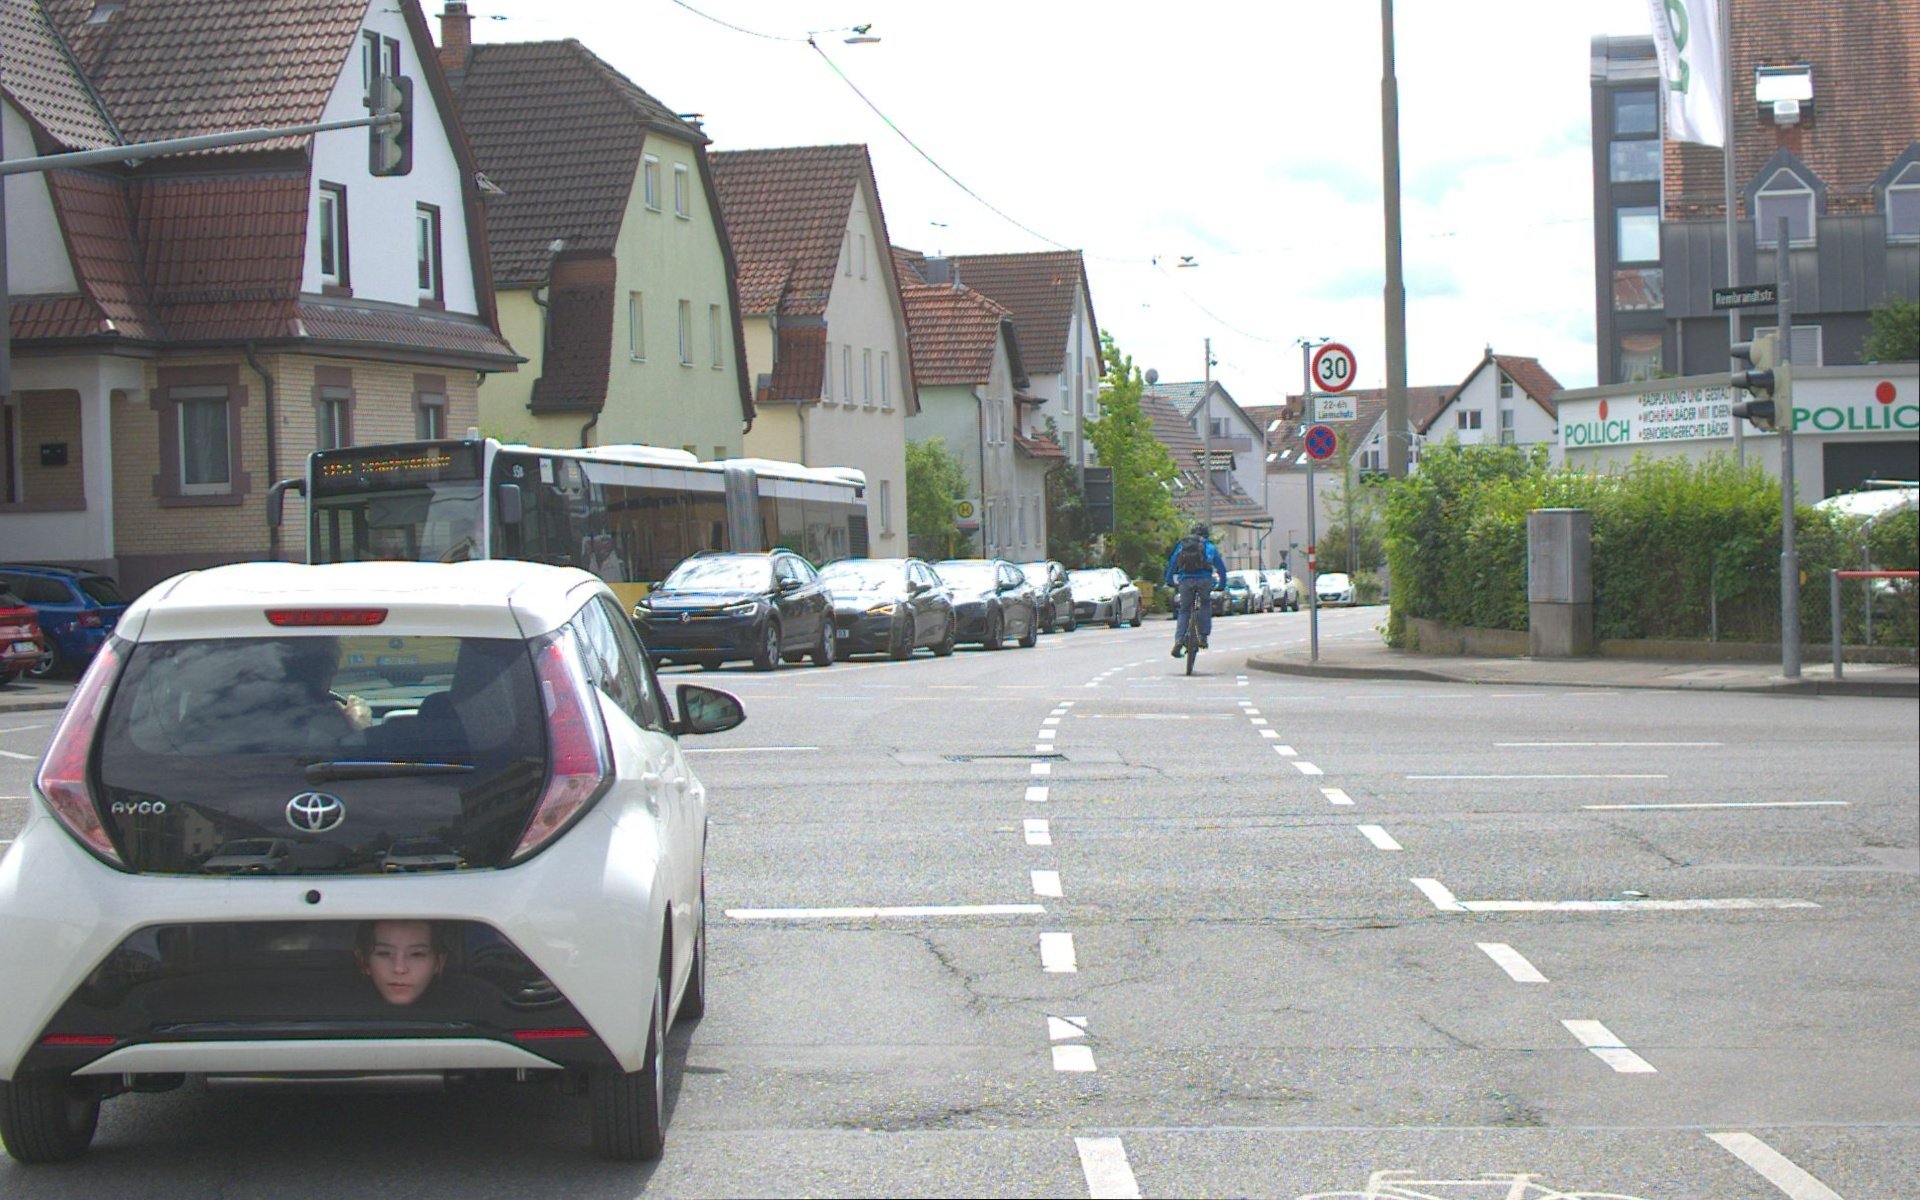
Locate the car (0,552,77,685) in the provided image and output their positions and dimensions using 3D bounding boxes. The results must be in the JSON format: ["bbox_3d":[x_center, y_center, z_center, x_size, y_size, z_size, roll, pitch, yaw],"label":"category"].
[{"bbox_3d":[-13.683,0.197,44.295,3.989,1.634,1.999,1,1,10],"label":"car"}]

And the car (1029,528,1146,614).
[{"bbox_3d":[3.109,-0.718,82.970,1.995,2.007,3.998,0,1,15],"label":"car"}]

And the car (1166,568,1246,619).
[{"bbox_3d":[8.236,-0.227,114.803,1.995,1.634,3.998,0,1,14],"label":"car"}]

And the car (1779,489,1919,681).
[{"bbox_3d":[11.227,-0.197,37.490,3.986,2.007,2.001,-1,1,-11],"label":"car"}]

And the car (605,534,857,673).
[{"bbox_3d":[-2.804,0.008,43.024,1.995,1.634,3.998,0,1,14],"label":"car"}]

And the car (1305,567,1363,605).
[{"bbox_3d":[16.455,-0.627,151.235,1.995,1.634,3.998,0,1,14],"label":"car"}]

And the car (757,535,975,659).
[{"bbox_3d":[-1.261,-0.079,48.158,1.995,1.634,4.181,0,1,14],"label":"car"}]

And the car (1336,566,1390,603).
[{"bbox_3d":[18.921,-0.737,161.390,1.995,1.634,3.998,0,1,14],"label":"car"}]

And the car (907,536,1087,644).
[{"bbox_3d":[0.634,-0.190,54.907,1.995,1.634,3.998,0,1,14],"label":"car"}]

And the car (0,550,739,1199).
[{"bbox_3d":[-1.561,0.607,9.641,1.738,1.455,3.533,-1,1,-2],"label":"car"}]

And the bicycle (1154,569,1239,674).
[{"bbox_3d":[2.765,0.234,40.319,0.832,1.160,2.192,-1,1,0],"label":"bicycle"}]

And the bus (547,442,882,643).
[{"bbox_3d":[-3.674,-0.931,54.397,2.779,2.904,9.186,0,1,12],"label":"bus"}]

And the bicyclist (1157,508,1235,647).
[{"bbox_3d":[2.763,-0.272,40.288,0.840,1.609,1.083,-1,1,1],"label":"bicyclist"}]

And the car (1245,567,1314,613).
[{"bbox_3d":[12.023,-0.379,129.068,1.995,1.634,3.998,0,1,14],"label":"car"}]

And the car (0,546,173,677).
[{"bbox_3d":[-13.097,0.116,47.174,3.989,1.678,1.999,1,1,10],"label":"car"}]

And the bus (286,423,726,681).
[{"bbox_3d":[-5.731,-0.676,45.409,2.779,3.049,9.186,0,1,12],"label":"bus"}]

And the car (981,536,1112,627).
[{"bbox_3d":[2.023,-0.448,79.054,1.995,2.007,3.997,0,1,17],"label":"car"}]
